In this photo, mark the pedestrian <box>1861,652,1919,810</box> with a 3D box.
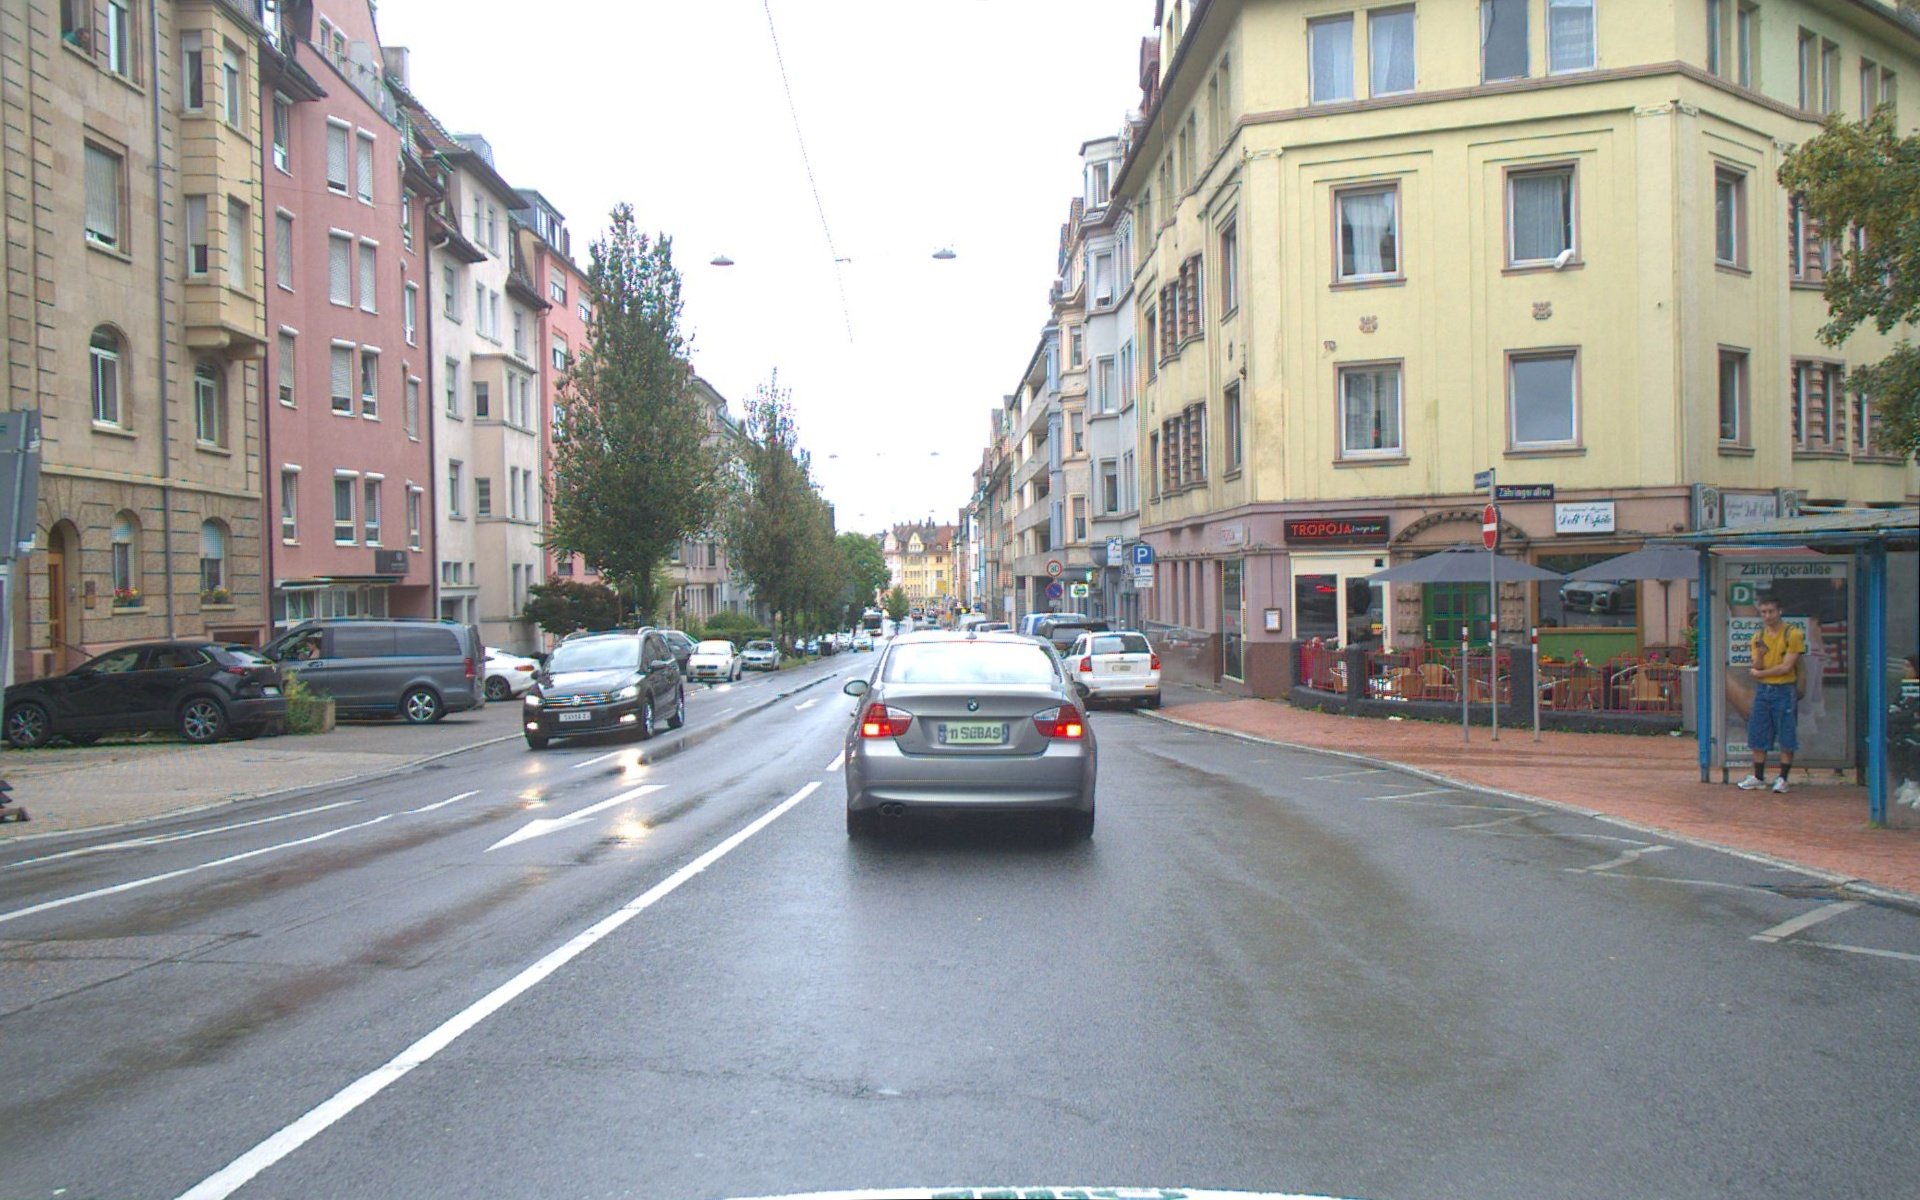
[{"bbox_3d":[8.097,1.107,14.117,0.557,1.302,0.619,0,-1,11],"label":"pedestrian"}]

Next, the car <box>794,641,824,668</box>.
[{"bbox_3d":[-9.952,3.580,109.116,1.731,1.621,3.998,-3,-1,-3],"label":"car"}]

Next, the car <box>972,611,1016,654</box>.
[{"bbox_3d":[1.667,1.629,83.045,1.942,2.042,4.623,-3,-1,-1],"label":"car"}]

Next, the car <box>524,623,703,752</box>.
[{"bbox_3d":[-5.185,1.255,25.284,1.587,1.678,4.420,-4,-1,1],"label":"car"}]

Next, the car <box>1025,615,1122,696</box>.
[{"bbox_3d":[2.571,1.264,38.620,1.841,1.762,4.675,0,-1,-1],"label":"car"}]

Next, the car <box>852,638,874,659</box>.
[{"bbox_3d":[-8.163,4.073,139.316,1.603,1.534,3.753,-4,-1,-1],"label":"car"}]

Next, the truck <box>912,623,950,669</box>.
[{"bbox_3d":[-1.601,2.498,89.955,1.991,2.455,4.824,0,-2,-2],"label":"truck"}]

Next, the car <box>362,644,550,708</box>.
[{"bbox_3d":[-13.426,2.019,44.234,4.456,1.426,1.767,-3,-1,-2],"label":"car"}]

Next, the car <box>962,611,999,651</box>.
[{"bbox_3d":[1.199,1.851,97.558,1.942,2.204,4.748,-3,-1,-1],"label":"car"}]

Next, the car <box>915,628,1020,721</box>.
[{"bbox_3d":[0.118,1.209,27.859,1.647,1.453,3.740,0,-1,0],"label":"car"}]

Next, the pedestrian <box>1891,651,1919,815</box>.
[{"bbox_3d":[8.004,1.076,13.502,0.557,1.302,0.535,0,-1,10],"label":"pedestrian"}]

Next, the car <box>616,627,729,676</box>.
[{"bbox_3d":[-13.070,2.316,75.370,4.731,2.008,2.047,-2,-1,-2],"label":"car"}]

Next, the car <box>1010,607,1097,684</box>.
[{"bbox_3d":[2.456,1.211,44.643,1.881,1.859,5.007,-3,-1,-1],"label":"car"}]

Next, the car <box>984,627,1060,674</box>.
[{"bbox_3d":[2.050,1.690,56.098,1.840,1.493,4.766,0,-1,-7],"label":"car"}]

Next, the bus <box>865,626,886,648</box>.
[{"bbox_3d":[-12.136,5.347,238.310,2.615,3.077,7.667,-3,-1,-1],"label":"bus"}]

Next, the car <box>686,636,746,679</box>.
[{"bbox_3d":[-8.960,2.087,60.995,1.588,1.471,4.004,-2,-1,0],"label":"car"}]

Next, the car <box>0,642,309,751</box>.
[{"bbox_3d":[-12.544,1.476,25.724,4.063,1.537,1.872,-1,-1,-2],"label":"car"}]

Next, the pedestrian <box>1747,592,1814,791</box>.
[{"bbox_3d":[7.631,0.833,15.389,0.547,1.806,0.545,0,-1,27],"label":"pedestrian"}]

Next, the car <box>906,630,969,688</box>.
[{"bbox_3d":[-0.618,1.606,45.387,1.663,1.509,3.792,0,-2,-1],"label":"car"}]

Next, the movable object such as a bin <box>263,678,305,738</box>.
[{"bbox_3d":[-11.284,1.799,27.610,0.494,0.967,0.441,0,-1,4],"label":"movable object such as a bin"}]

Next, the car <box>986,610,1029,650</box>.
[{"bbox_3d":[2.161,1.392,76.355,1.691,1.699,4.286,-4,-1,-1],"label":"car"}]

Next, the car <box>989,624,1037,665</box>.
[{"bbox_3d":[1.991,1.671,62.918,1.579,1.500,4.014,0,-1,-1],"label":"car"}]

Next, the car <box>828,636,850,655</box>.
[{"bbox_3d":[-11.050,4.150,151.338,1.656,1.550,3.736,-3,-1,0],"label":"car"}]

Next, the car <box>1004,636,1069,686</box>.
[{"bbox_3d":[2.247,1.783,49.559,1.643,1.399,4.274,-1,-1,-1],"label":"car"}]

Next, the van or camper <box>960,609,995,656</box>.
[{"bbox_3d":[1.165,2.105,108.146,1.991,2.919,6.886,1,-1,2],"label":"van or camper"}]

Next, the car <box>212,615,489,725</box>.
[{"bbox_3d":[-11.332,1.291,31.060,4.591,1.973,1.858,1,-1,-11],"label":"car"}]

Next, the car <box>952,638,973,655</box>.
[{"bbox_3d":[0.223,4.099,145.997,1.663,1.509,3.973,0,-2,-2],"label":"car"}]

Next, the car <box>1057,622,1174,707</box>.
[{"bbox_3d":[3.049,1.253,33.232,1.763,1.592,4.490,0,-1,-2],"label":"car"}]

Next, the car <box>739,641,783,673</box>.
[{"bbox_3d":[-9.664,2.759,80.514,1.691,1.510,3.988,1,-2,0],"label":"car"}]

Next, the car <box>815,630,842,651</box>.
[{"bbox_3d":[-10.422,3.189,131.195,1.790,1.550,3.736,-3,-1,0],"label":"car"}]

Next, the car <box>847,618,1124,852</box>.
[{"bbox_3d":[0.085,0.892,12.220,1.734,1.453,3.738,0,-2,-3],"label":"car"}]
